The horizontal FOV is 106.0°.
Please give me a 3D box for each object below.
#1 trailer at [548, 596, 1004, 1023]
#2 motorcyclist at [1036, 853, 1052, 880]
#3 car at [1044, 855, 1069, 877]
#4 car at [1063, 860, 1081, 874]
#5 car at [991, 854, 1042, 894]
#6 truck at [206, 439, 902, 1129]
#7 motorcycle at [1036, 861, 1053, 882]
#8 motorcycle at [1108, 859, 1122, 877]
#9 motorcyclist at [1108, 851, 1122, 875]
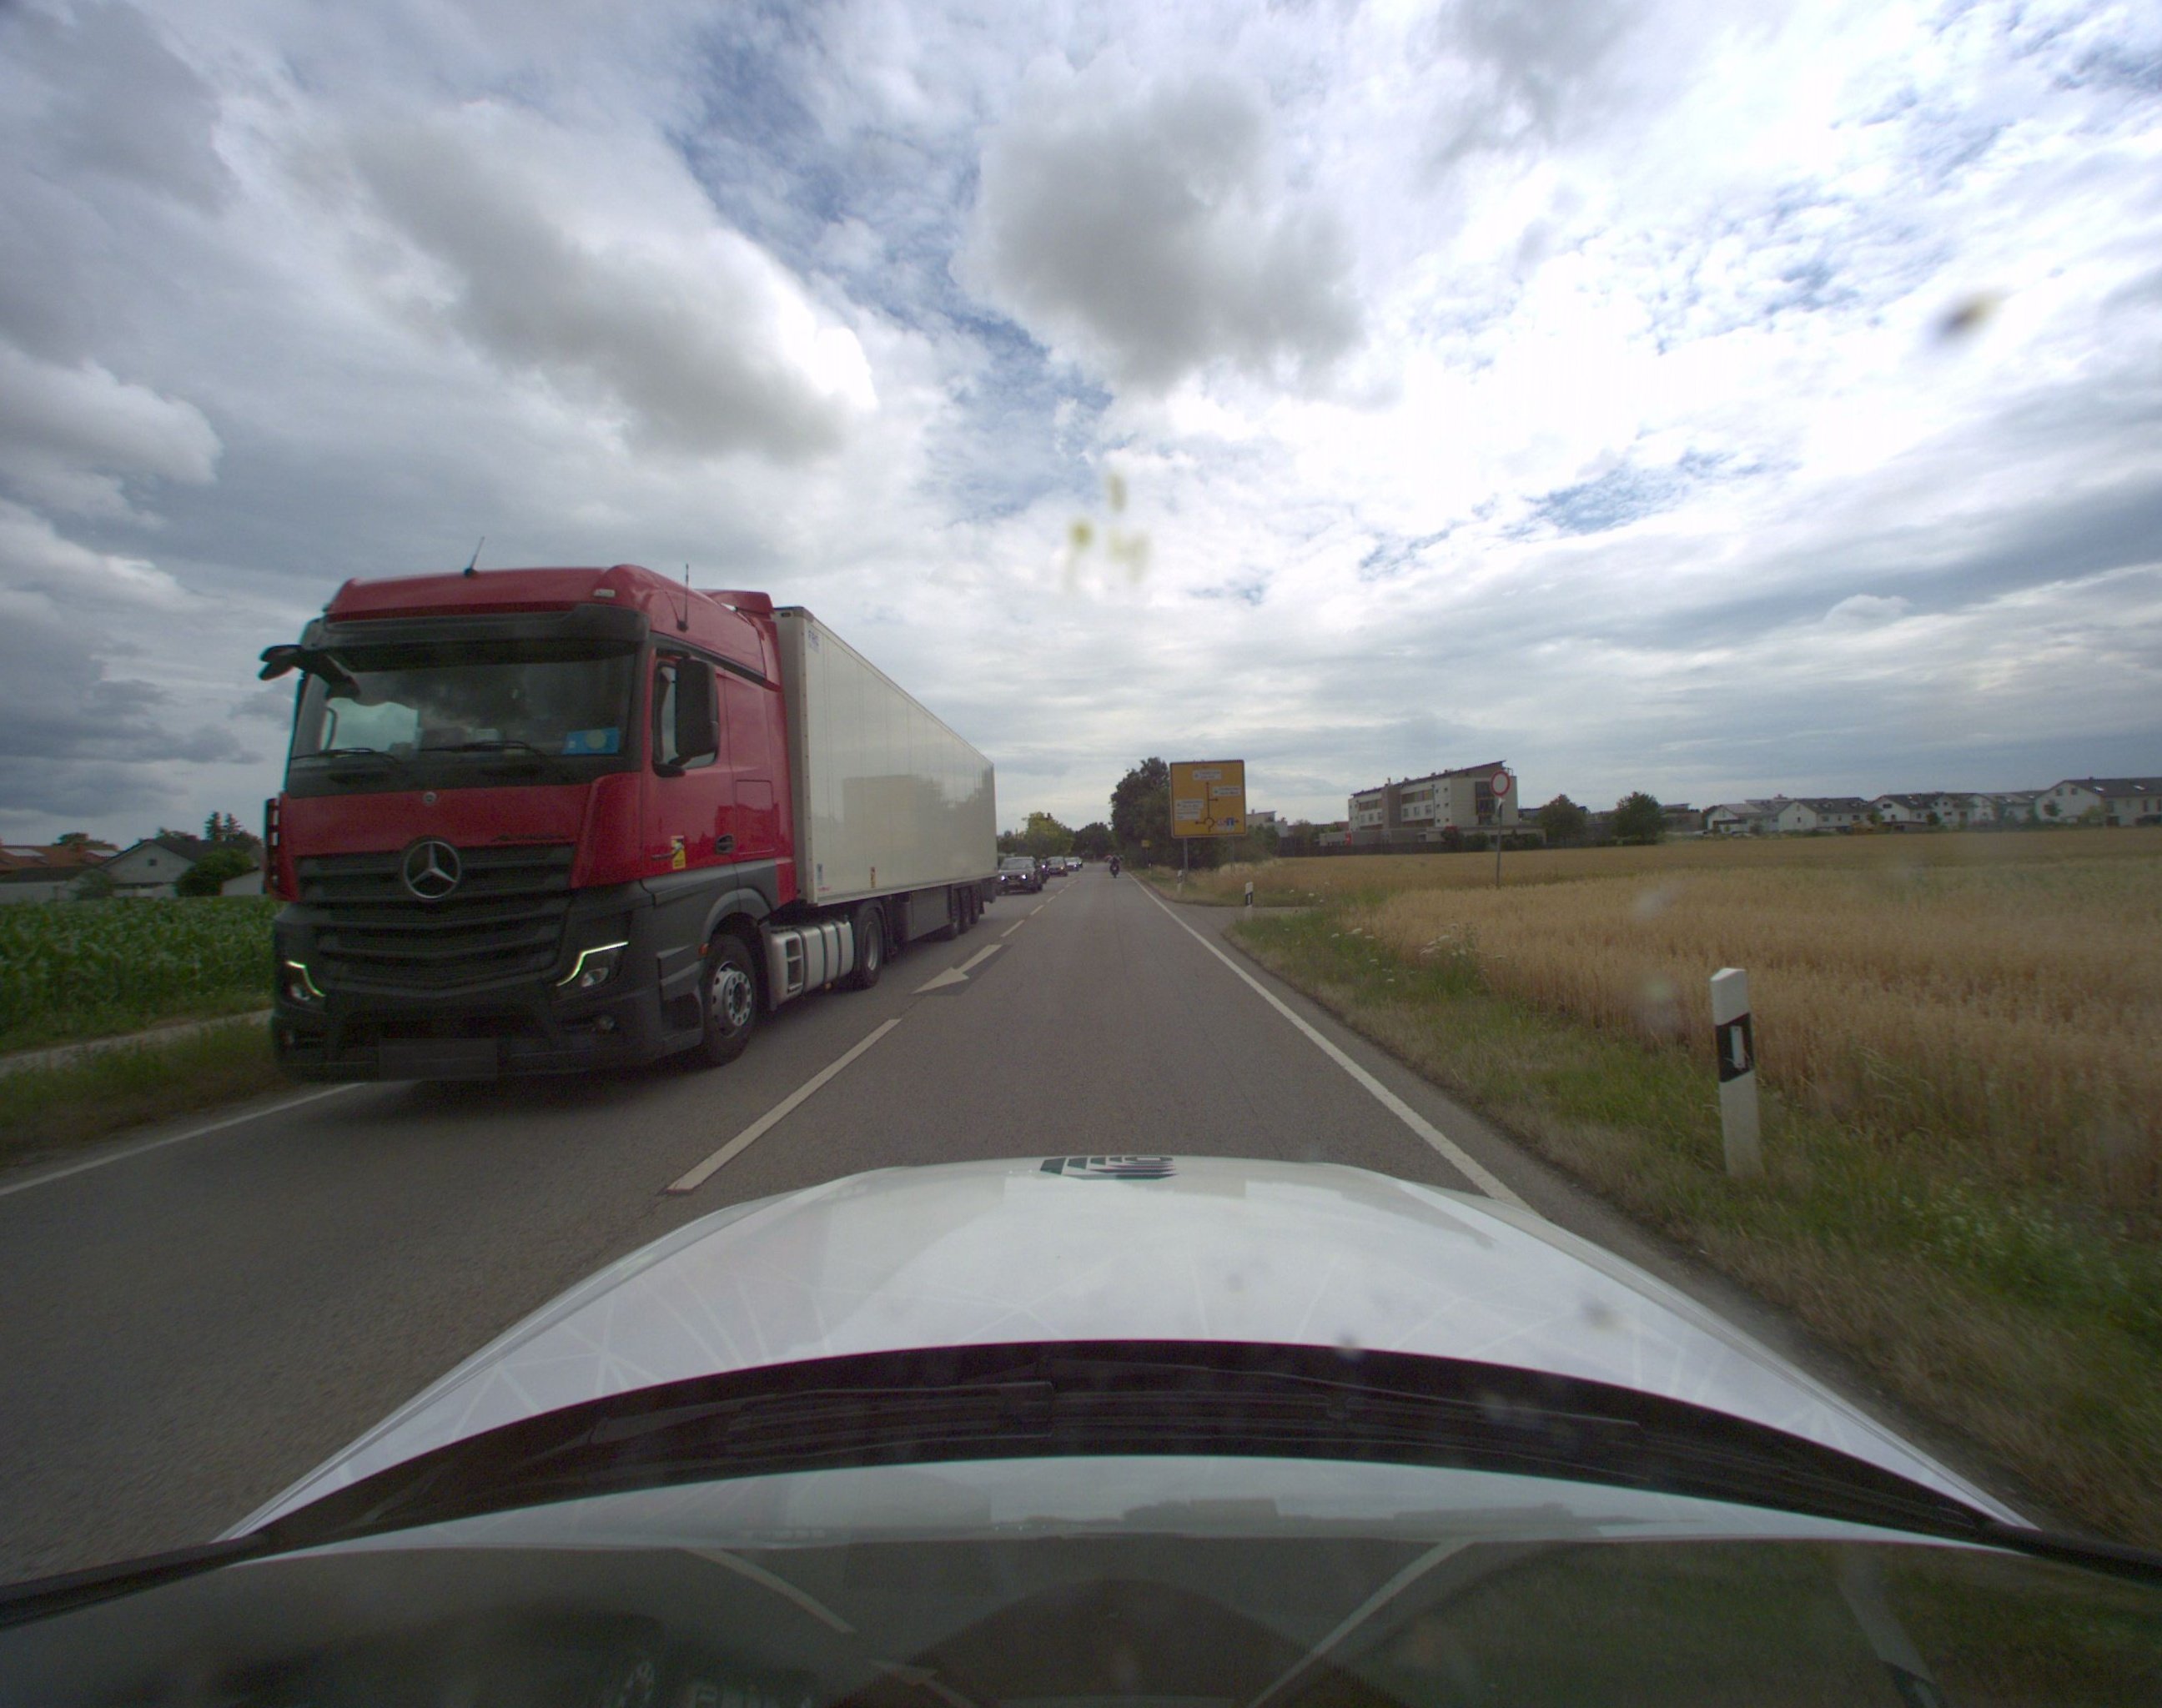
[{"bbox_3d":[-3.679,-0.412,14.925,2.624,4.120,13.772,-2,0,2],"label":"trailer"},{"bbox_3d":[-2.183,0.720,48.146,0.794,1.573,1.078,-2,0,1],"label":"motorcyclist"},{"bbox_3d":[-1.918,0.941,64.916,1.698,1.540,4.302,-4,0,1],"label":"car"},{"bbox_3d":[-0.940,1.360,86.909,1.766,1.373,4.101,-4,0,1],"label":"car"},{"bbox_3d":[-2.791,0.822,36.335,1.722,1.586,4.506,-3,0,1],"label":"car"},{"bbox_3d":[-3.905,-0.416,7.992,2.642,4.120,6.025,-2,0,2],"label":"truck"},{"bbox_3d":[-2.166,1.043,48.166,0.794,1.158,2.621,-2,0,1],"label":"motorcycle"},{"bbox_3d":[2.378,0.961,56.628,0.893,1.158,2.621,-2,0,1],"label":"motorcycle"},{"bbox_3d":[2.359,0.609,56.689,0.858,1.623,1.191,-2,0,1],"label":"motorcyclist"}]
